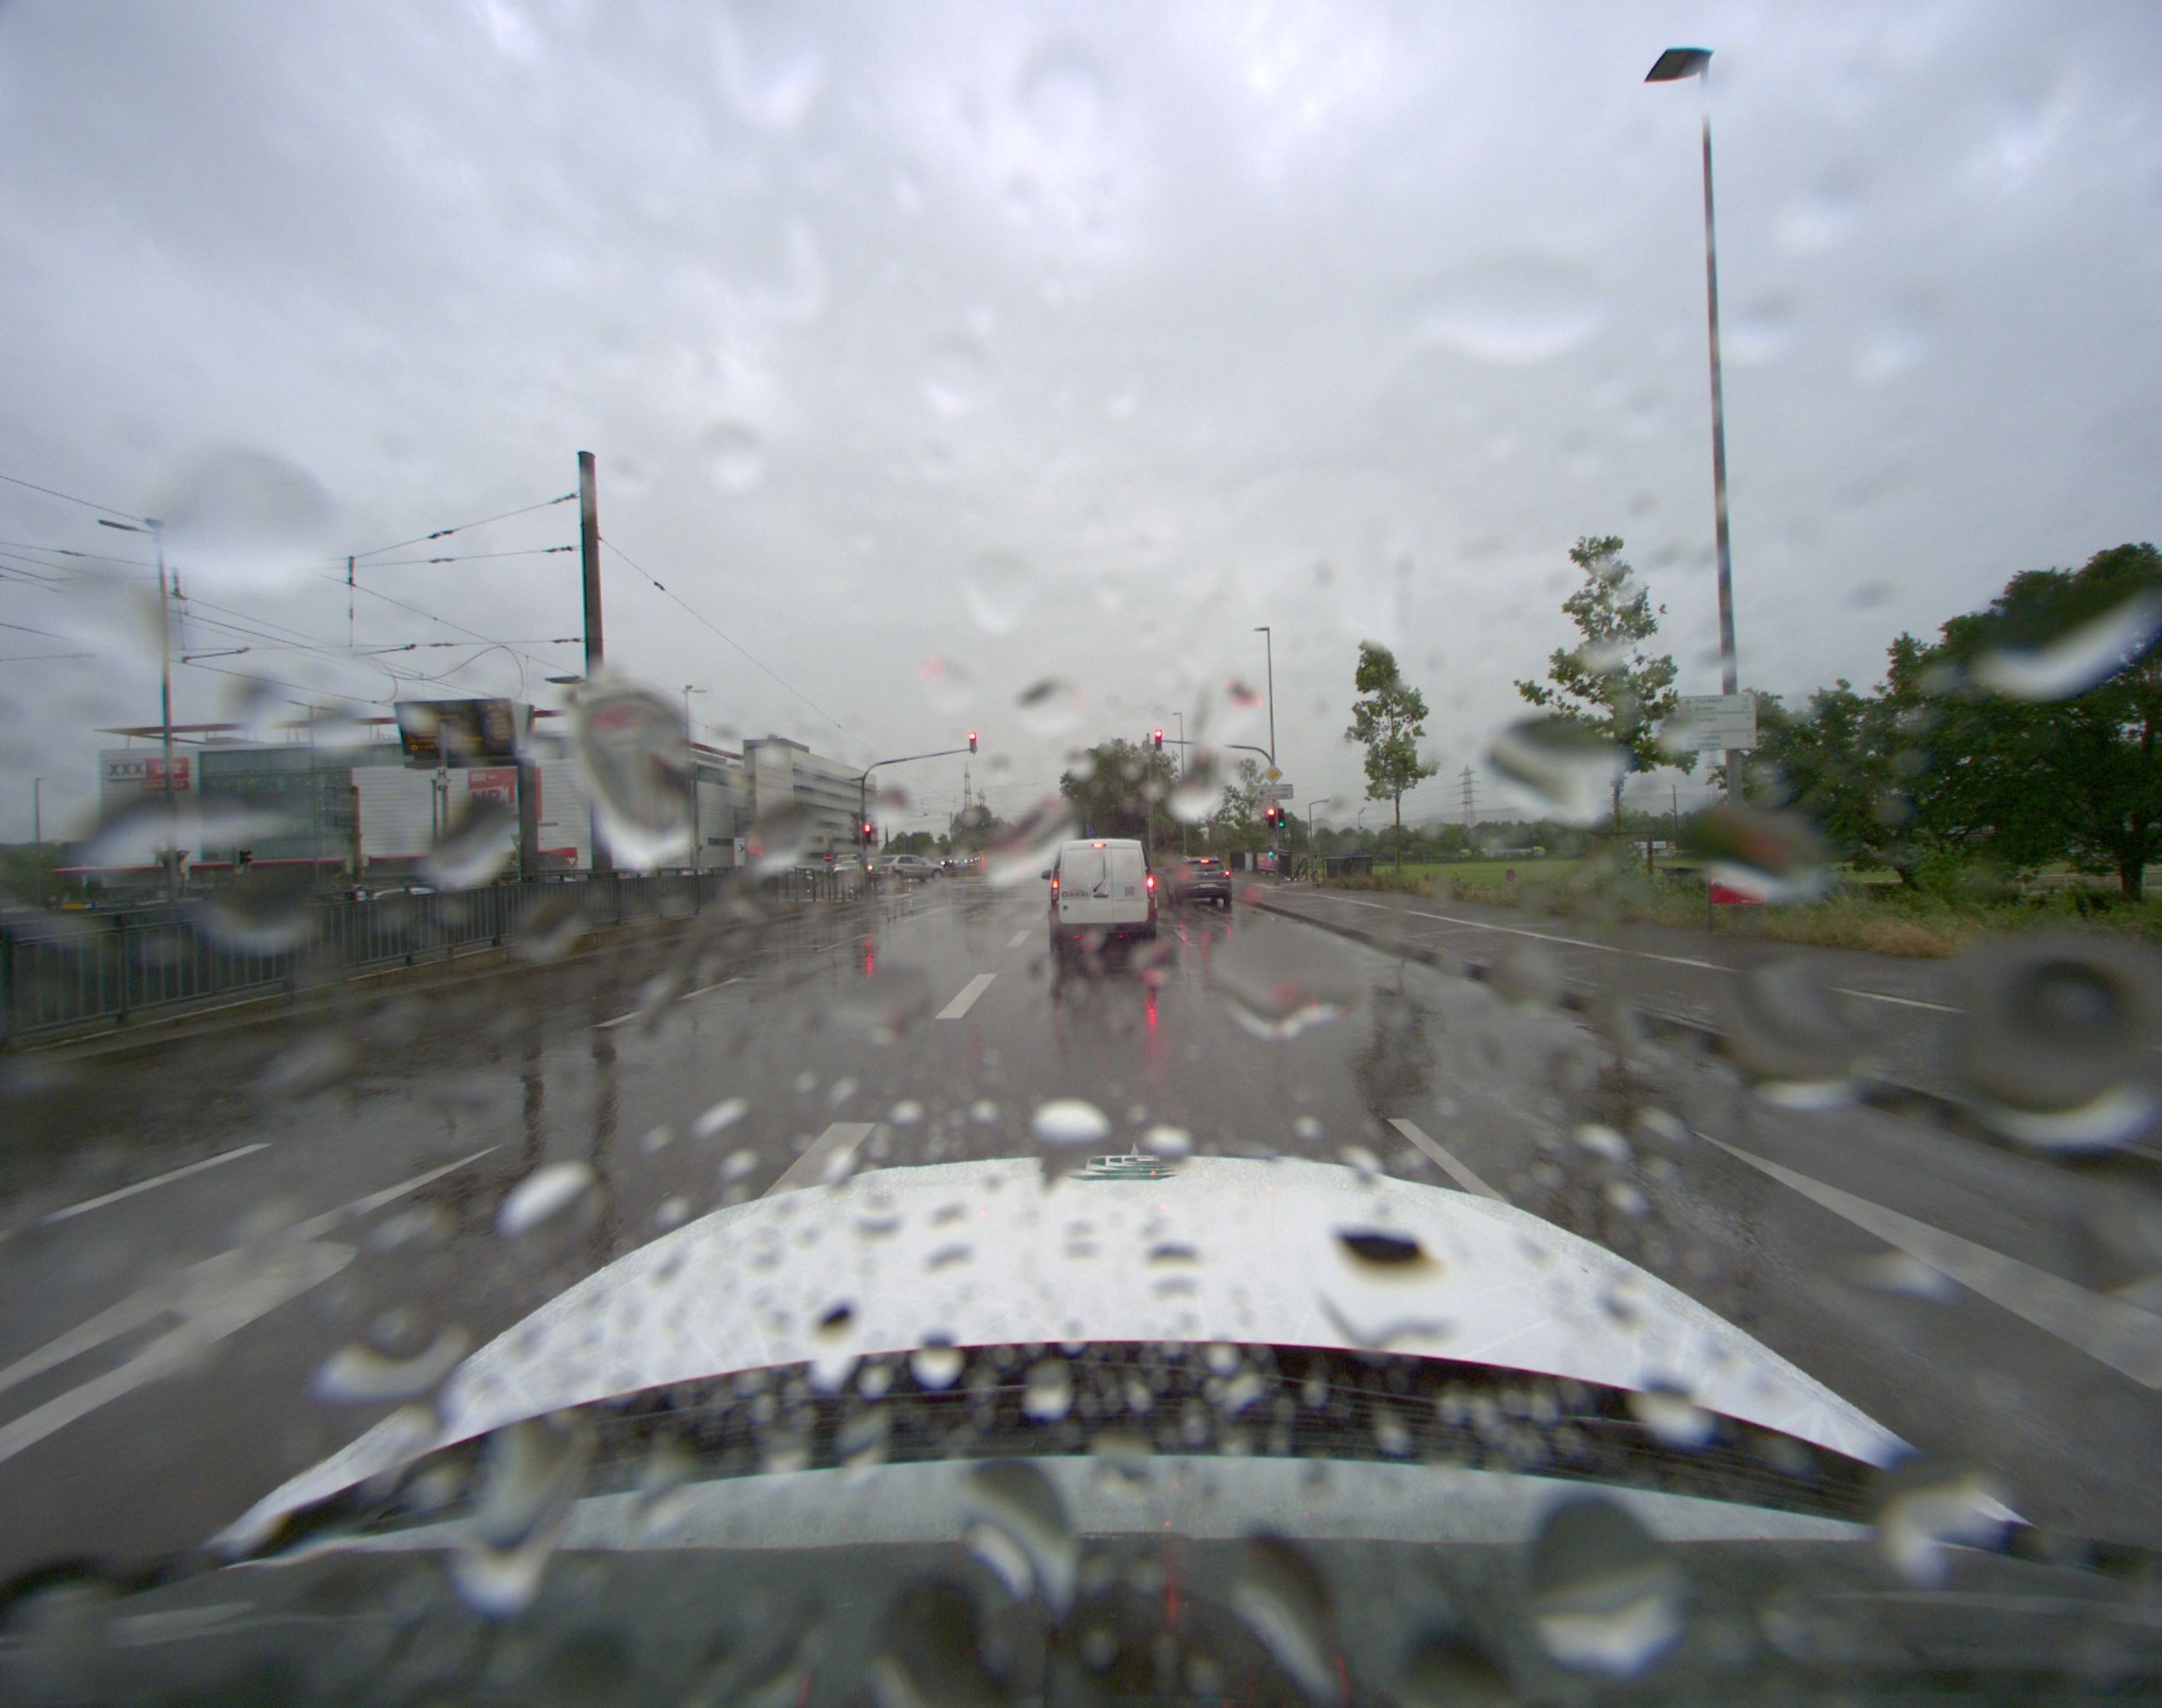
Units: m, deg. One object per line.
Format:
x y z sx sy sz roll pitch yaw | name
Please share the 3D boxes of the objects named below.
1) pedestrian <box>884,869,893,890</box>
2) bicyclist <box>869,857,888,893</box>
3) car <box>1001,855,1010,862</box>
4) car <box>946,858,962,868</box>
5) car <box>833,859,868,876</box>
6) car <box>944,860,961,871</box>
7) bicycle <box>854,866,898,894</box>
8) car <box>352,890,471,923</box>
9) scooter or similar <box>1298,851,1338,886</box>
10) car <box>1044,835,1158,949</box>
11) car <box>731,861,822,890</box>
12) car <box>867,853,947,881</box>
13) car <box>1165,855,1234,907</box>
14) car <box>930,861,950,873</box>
-8.589 1.130 36.348 0.314 0.897 0.380 0 0 -1 | pedestrian
-8.542 0.895 34.366 0.608 1.491 0.593 0 -1 -39 | bicyclist
-16.355 0.984 177.219 1.554 1.426 3.569 0 -1 2 | car
-18.100 1.283 116.255 1.554 1.426 3.569 0 -1 2 | car
-19.270 1.136 68.257 1.704 1.426 3.810 0 -1 2 | car
-17.256 1.521 109.407 1.554 1.426 3.569 0 -1 2 | car
-8.627 1.094 34.278 1.768 1.137 0.514 0 -1 -41 | bicycle
-32.911 2.546 40.108 4.246 1.502 1.820 1 -1 -1 | car
8.773 0.522 30.285 0.687 1.211 3.022 -2 0 3 | scooter or similar
0.259 0.576 14.783 1.749 1.750 4.166 -1 0 -2 | car
-15.542 1.094 41.802 4.194 1.451 1.707 1 -2 -17 | car
-10.847 0.822 50.970 4.487 1.662 1.931 1 -2 -40 | car
3.722 0.818 26.109 1.678 1.508 3.921 0 0 1 | car
-17.636 1.674 102.261 1.704 1.426 3.810 0 -1 2 | car
